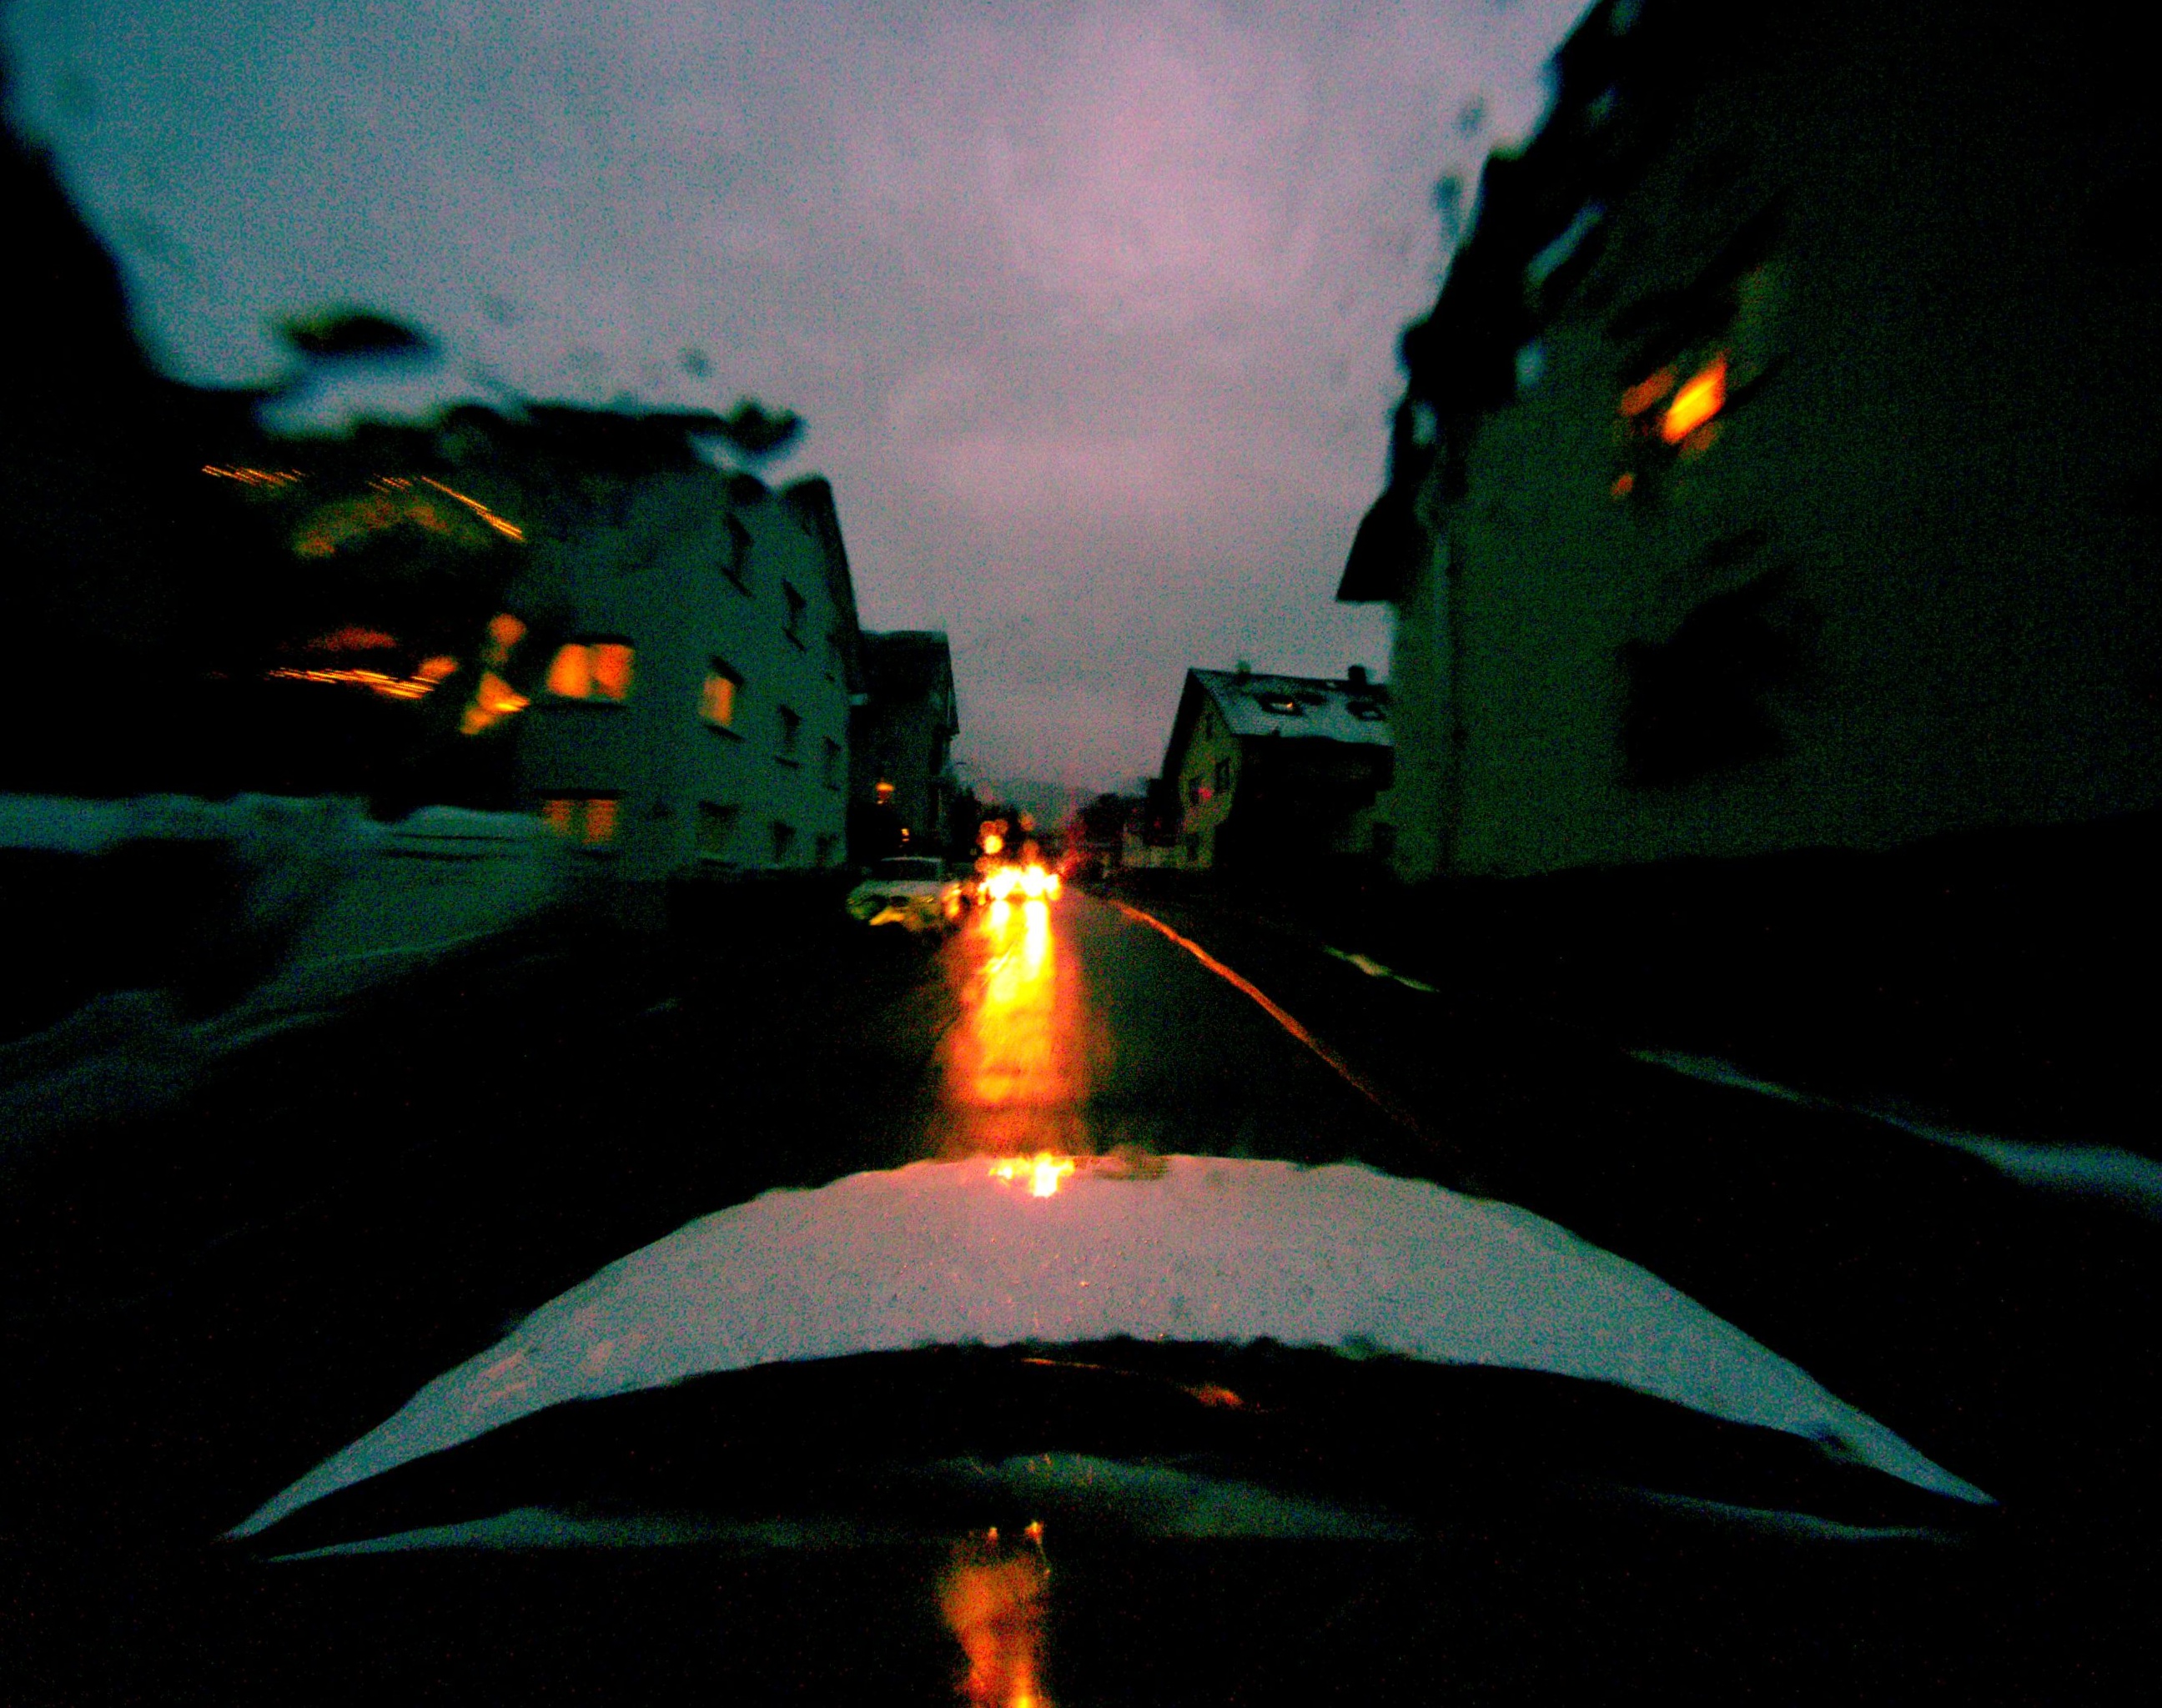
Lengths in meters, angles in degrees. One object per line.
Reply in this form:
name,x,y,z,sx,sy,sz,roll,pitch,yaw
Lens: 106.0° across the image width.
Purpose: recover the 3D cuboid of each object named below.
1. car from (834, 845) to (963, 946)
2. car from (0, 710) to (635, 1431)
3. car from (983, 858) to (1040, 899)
car,-3.569,0.752,16.671,1.990,1.800,3.994,-1,0,-4
car,-3.652,0.562,2.746,1.819,1.835,4.346,-1,0,1
car,-2.917,1.046,34.952,1.986,1.650,4.001,0,-2,2
